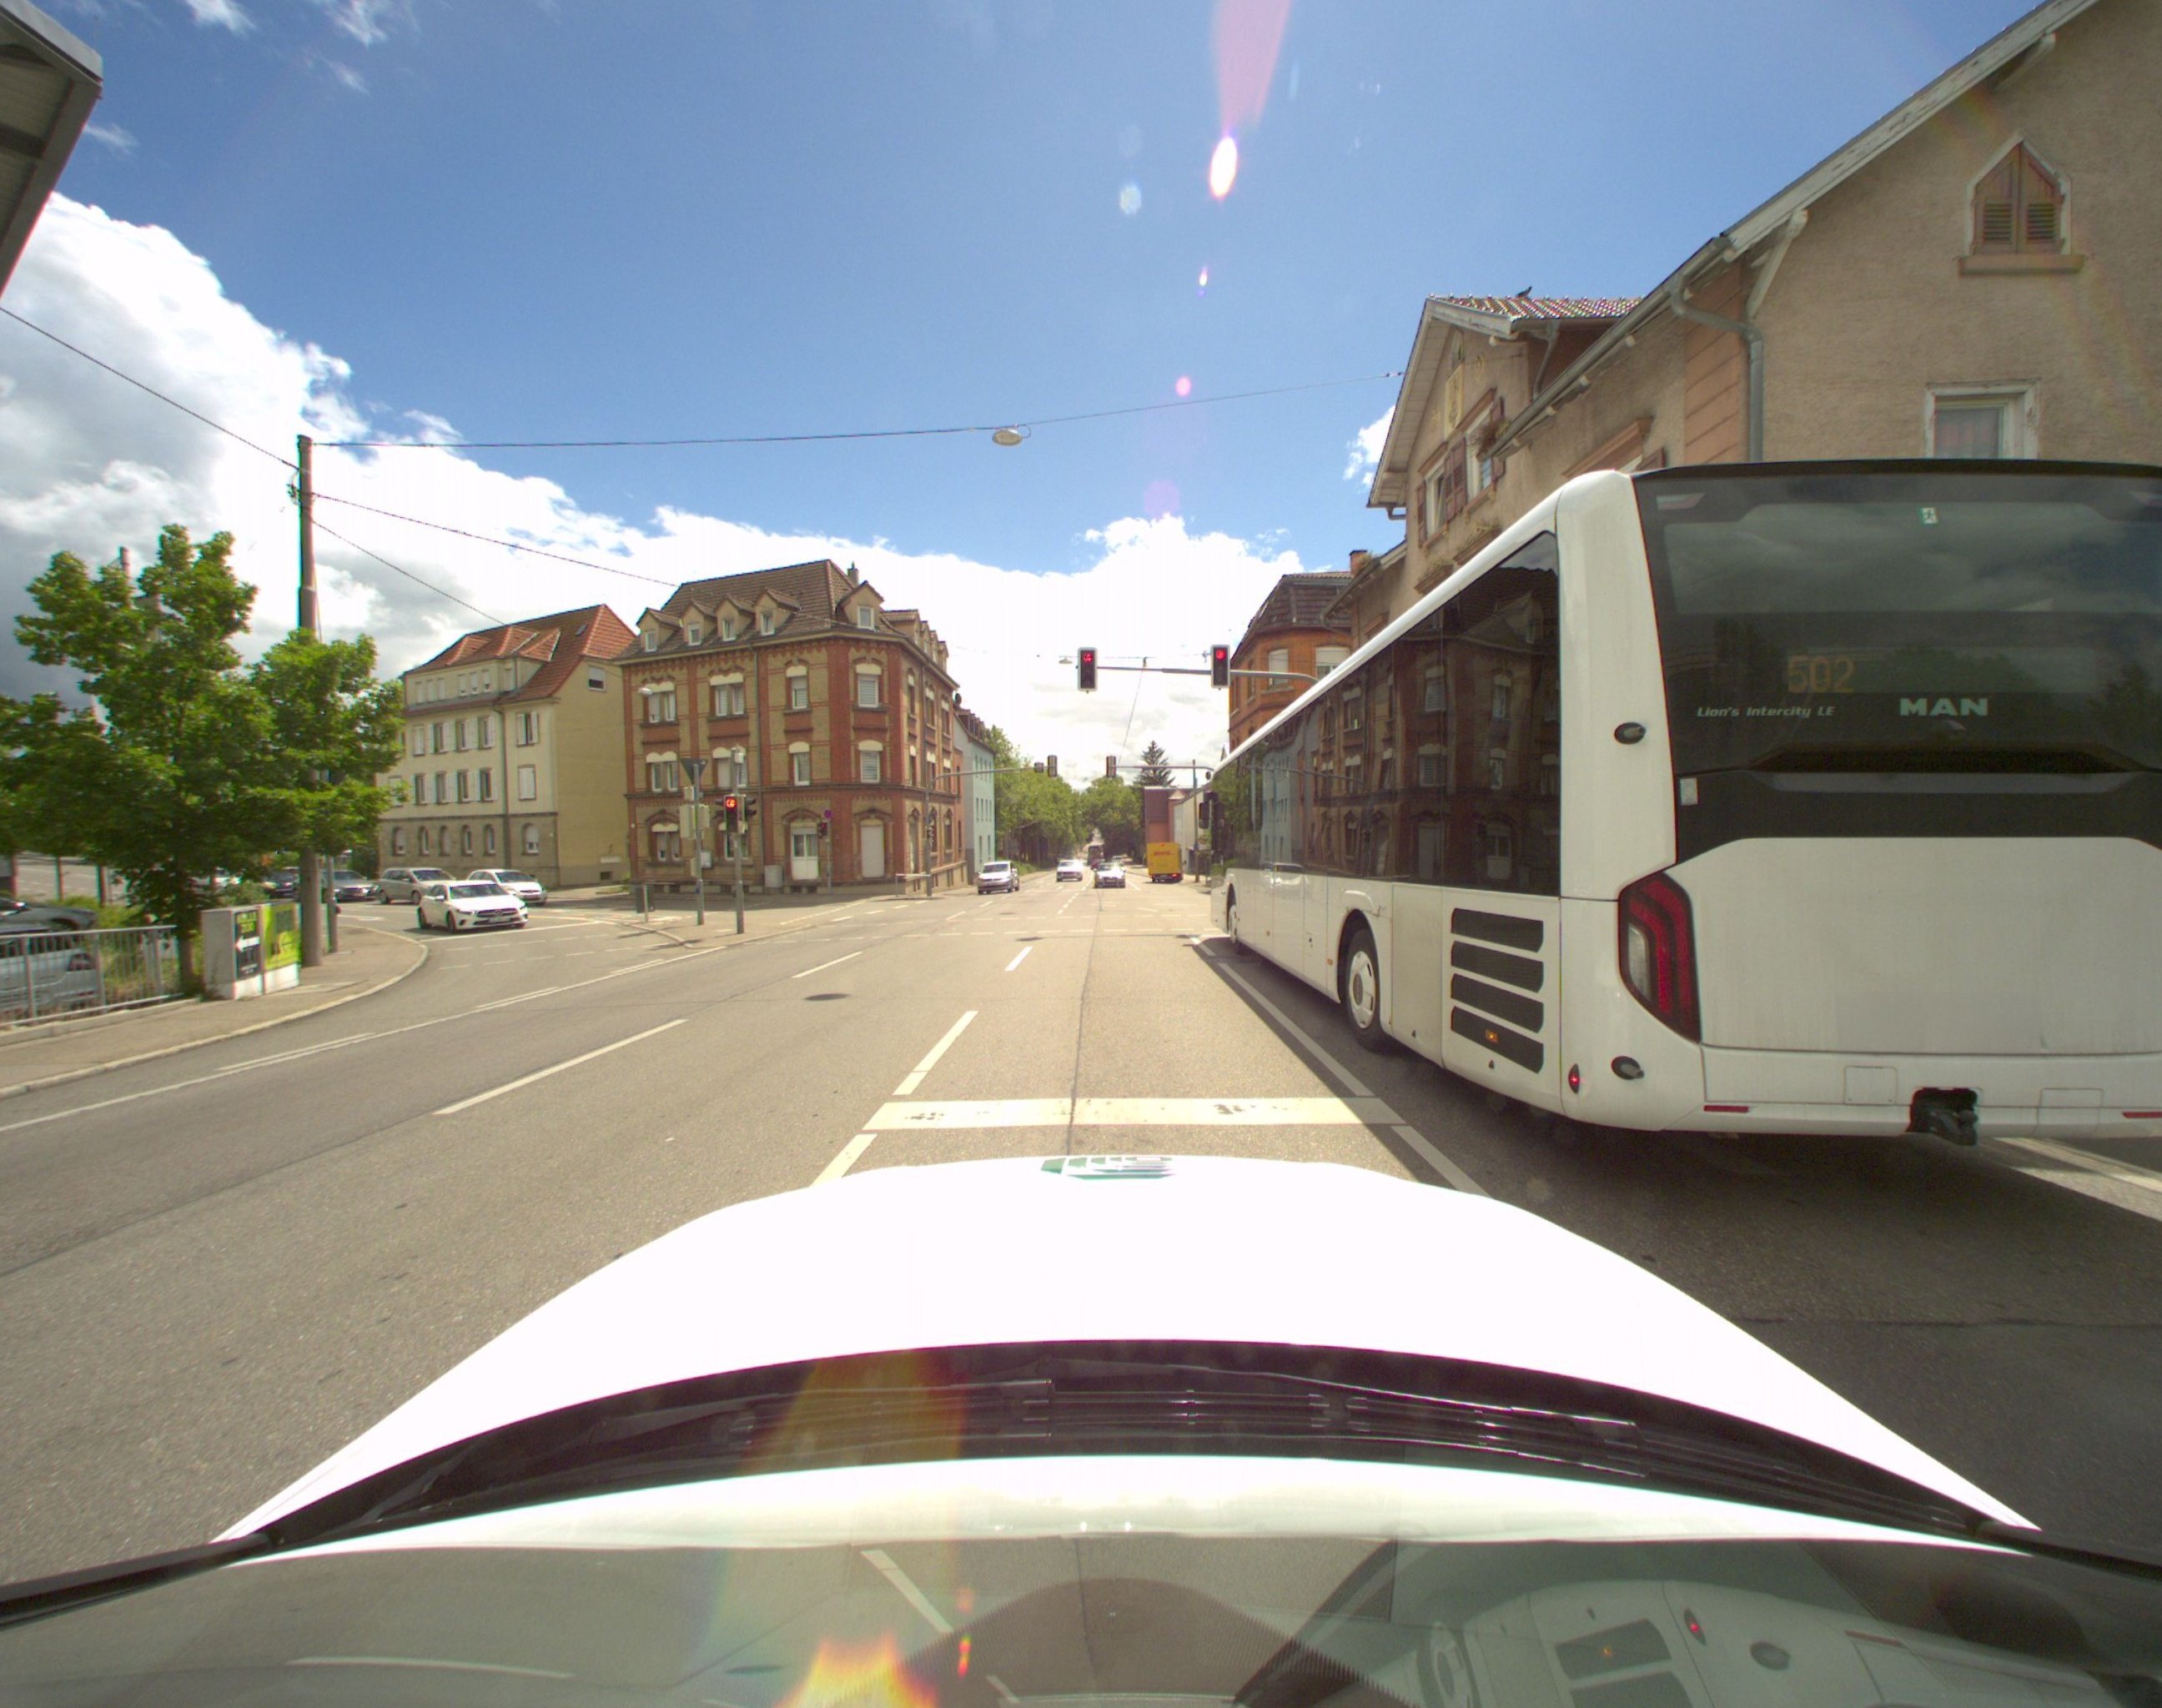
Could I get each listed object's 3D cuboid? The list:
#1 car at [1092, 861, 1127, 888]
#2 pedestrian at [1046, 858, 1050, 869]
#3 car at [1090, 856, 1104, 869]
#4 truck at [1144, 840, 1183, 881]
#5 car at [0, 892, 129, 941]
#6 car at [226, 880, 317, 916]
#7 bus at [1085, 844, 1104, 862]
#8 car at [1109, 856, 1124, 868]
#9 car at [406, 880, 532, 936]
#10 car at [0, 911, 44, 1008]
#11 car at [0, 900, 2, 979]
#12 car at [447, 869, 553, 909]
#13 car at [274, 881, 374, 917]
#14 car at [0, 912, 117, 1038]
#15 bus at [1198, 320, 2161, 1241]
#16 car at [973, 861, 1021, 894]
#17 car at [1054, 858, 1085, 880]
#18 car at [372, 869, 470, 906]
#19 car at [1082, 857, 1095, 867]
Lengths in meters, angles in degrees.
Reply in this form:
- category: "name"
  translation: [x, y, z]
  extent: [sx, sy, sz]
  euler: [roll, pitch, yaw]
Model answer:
- category: "car"
  translation: [1.632, 1.147, 46.700]
  extent: [1.858, 1.367, 4.549]
  euler: [-2, 0, 2]
- category: "pedestrian"
  translation: [-5.562, 1.641, 136.873]
  extent: [0.604, 1.758, 0.653]
  euler: [-2, 0, 0]
- category: "car"
  translation: [2.232, 1.139, 113.622]
  extent: [1.812, 1.784, 4.002]
  euler: [-2, 0, 2]
- category: "truck"
  translation: [6.234, 0.500, 60.820]
  extent: [2.527, 2.913, 6.587]
  euler: [-1, -1, 8]
- category: "car"
  translation: [-29.254, 1.730, 22.216]
  extent: [1.795, 1.186, 4.025]
  euler: [-1, 0, 31]
- category: "car"
  translation: [-40.102, 2.134, 40.341]
  extent: [4.291, 1.586, 2.012]
  euler: [-1, 0, 29]
- category: "bus"
  translation: [2.783, -0.183, 167.948]
  extent: [3.292, 3.631, 11.235]
  euler: [-2, 0, -2]
- category: "car"
  translation: [5.649, 1.243, 129.564]
  extent: [2.086, 1.830, 4.140]
  euler: [-1, 0, -1]
- category: "car"
  translation: [-18.246, 1.541, 24.217]
  extent: [4.334, 1.447, 1.875]
  euler: [-2, 0, 37]
- category: "car"
  translation: [-19.713, 1.831, 14.154]
  extent: [3.744, 1.523, 1.526]
  euler: [-1, 0, 30]
- category: "car"
  translation: [-23.405, 1.735, 16.434]
  extent: [3.371, 1.575, 1.526]
  euler: [-1, 0, 30]
- category: "car"
  translation: [-23.600, 1.392, 33.064]
  extent: [3.951, 1.497, 1.711]
  euler: [-1, 0, 24]
- category: "car"
  translation: [-35.452, 2.080, 38.143]
  extent: [3.951, 1.519, 2.011]
  euler: [-1, 0, 24]
- category: "car"
  translation: [-16.118, 1.739, 12.184]
  extent: [3.638, 1.575, 1.766]
  euler: [-1, -2, 34]
- category: "bus"
  translation: [3.501, -0.239, 9.355]
  extent: [2.893, 3.510, 12.492]
  euler: [0, -1, 2]
- category: "car"
  translation: [-4.415, 1.211, 43.573]
  extent: [1.928, 1.563, 4.390]
  euler: [-2, 0, 2]
- category: "car"
  translation: [-0.858, 1.146, 65.039]
  extent: [2.199, 1.613, 4.549]
  euler: [-2, 0, 2]
- category: "car"
  translation: [-29.208, 1.470, 36.050]
  extent: [3.951, 1.519, 1.757]
  euler: [-1, 0, 24]
- category: "car"
  translation: [1.277, 1.373, 141.088]
  extent: [2.086, 1.830, 4.140]
  euler: [-1, 0, -1]
